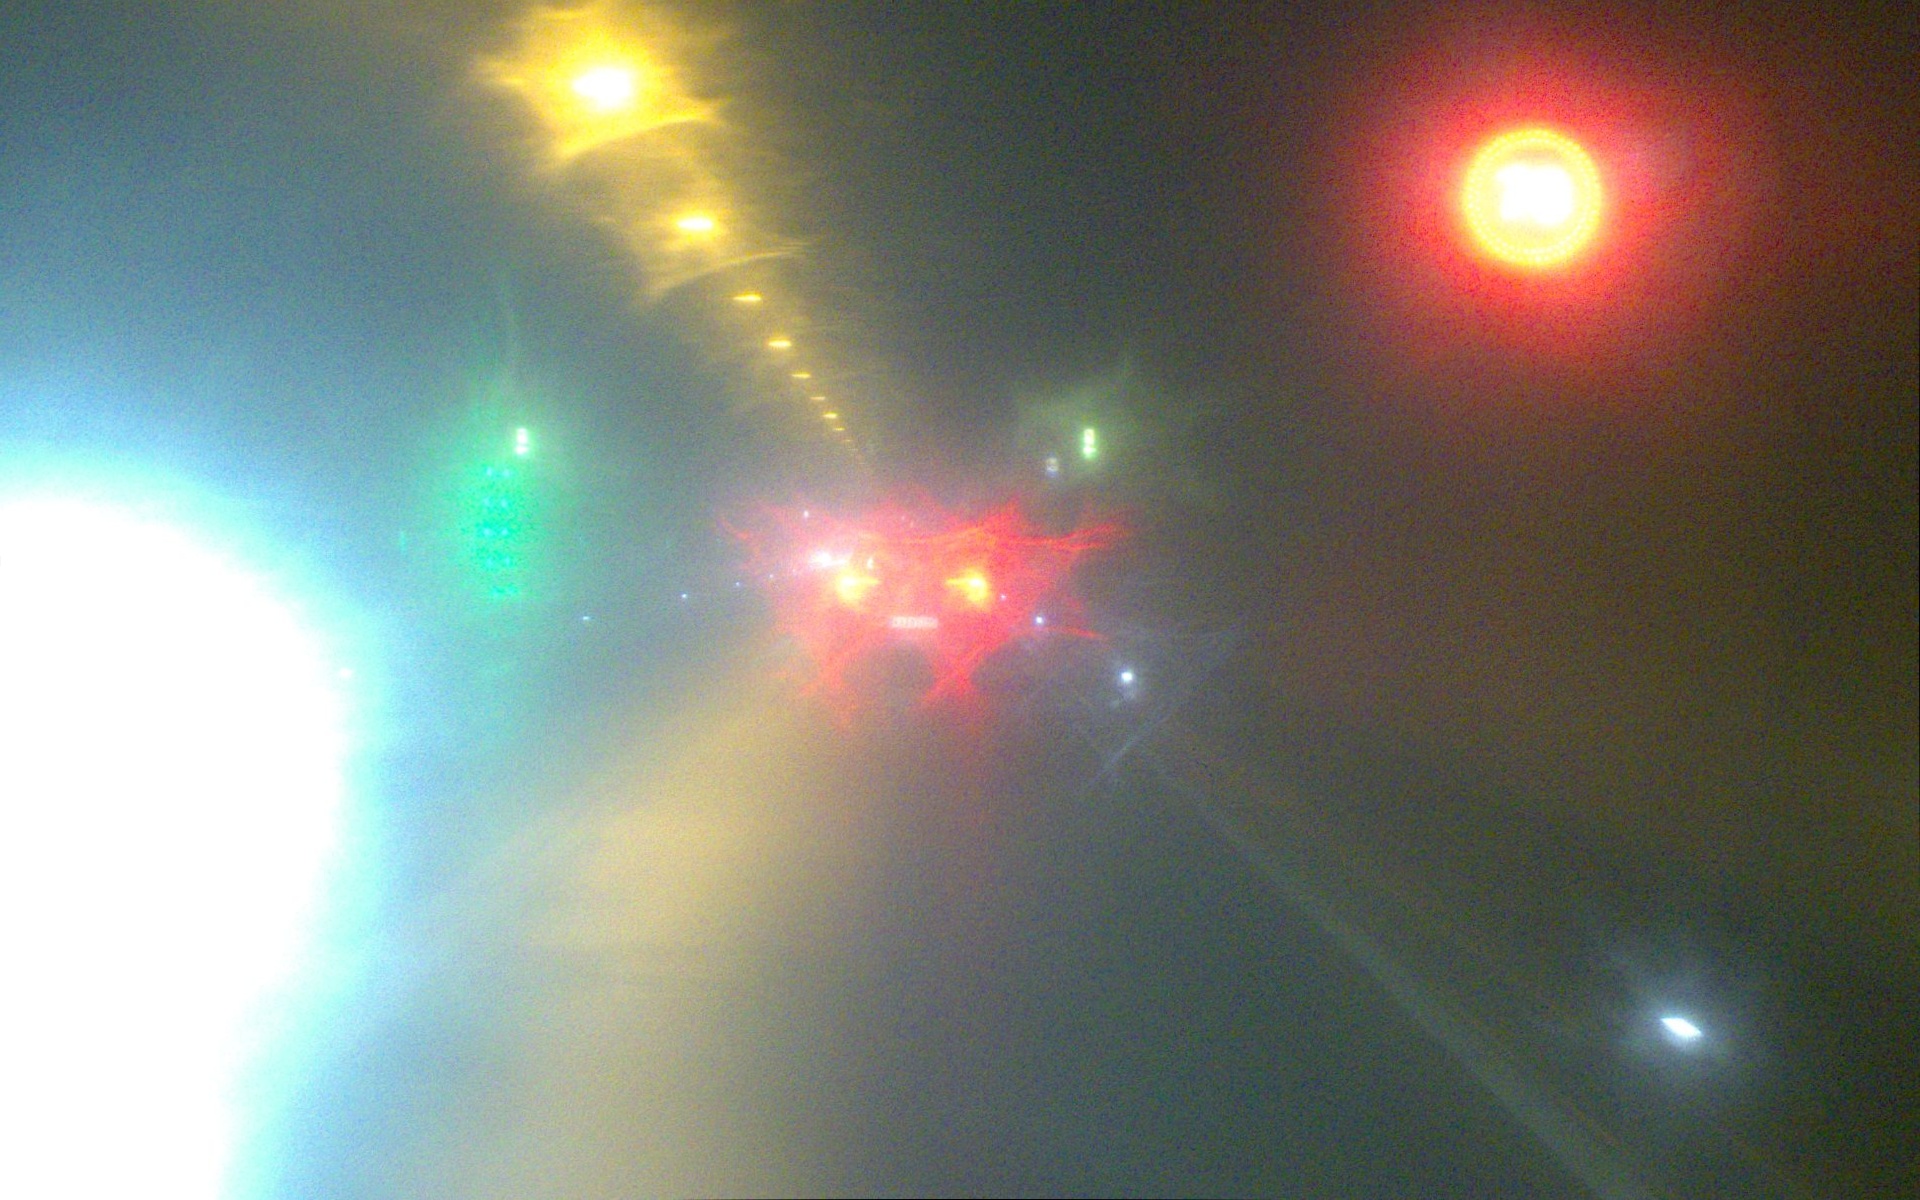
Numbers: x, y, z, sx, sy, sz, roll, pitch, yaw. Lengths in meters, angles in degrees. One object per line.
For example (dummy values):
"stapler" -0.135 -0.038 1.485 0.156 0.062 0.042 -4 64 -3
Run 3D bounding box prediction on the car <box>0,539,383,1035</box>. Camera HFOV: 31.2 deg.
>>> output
"car" -3.357 0.557 12.815 1.756 1.523 3.815 2 1 -1

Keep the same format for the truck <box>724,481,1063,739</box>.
"truck" -0.725 0.037 40.421 3.535 2.684 8.956 0 1 0
